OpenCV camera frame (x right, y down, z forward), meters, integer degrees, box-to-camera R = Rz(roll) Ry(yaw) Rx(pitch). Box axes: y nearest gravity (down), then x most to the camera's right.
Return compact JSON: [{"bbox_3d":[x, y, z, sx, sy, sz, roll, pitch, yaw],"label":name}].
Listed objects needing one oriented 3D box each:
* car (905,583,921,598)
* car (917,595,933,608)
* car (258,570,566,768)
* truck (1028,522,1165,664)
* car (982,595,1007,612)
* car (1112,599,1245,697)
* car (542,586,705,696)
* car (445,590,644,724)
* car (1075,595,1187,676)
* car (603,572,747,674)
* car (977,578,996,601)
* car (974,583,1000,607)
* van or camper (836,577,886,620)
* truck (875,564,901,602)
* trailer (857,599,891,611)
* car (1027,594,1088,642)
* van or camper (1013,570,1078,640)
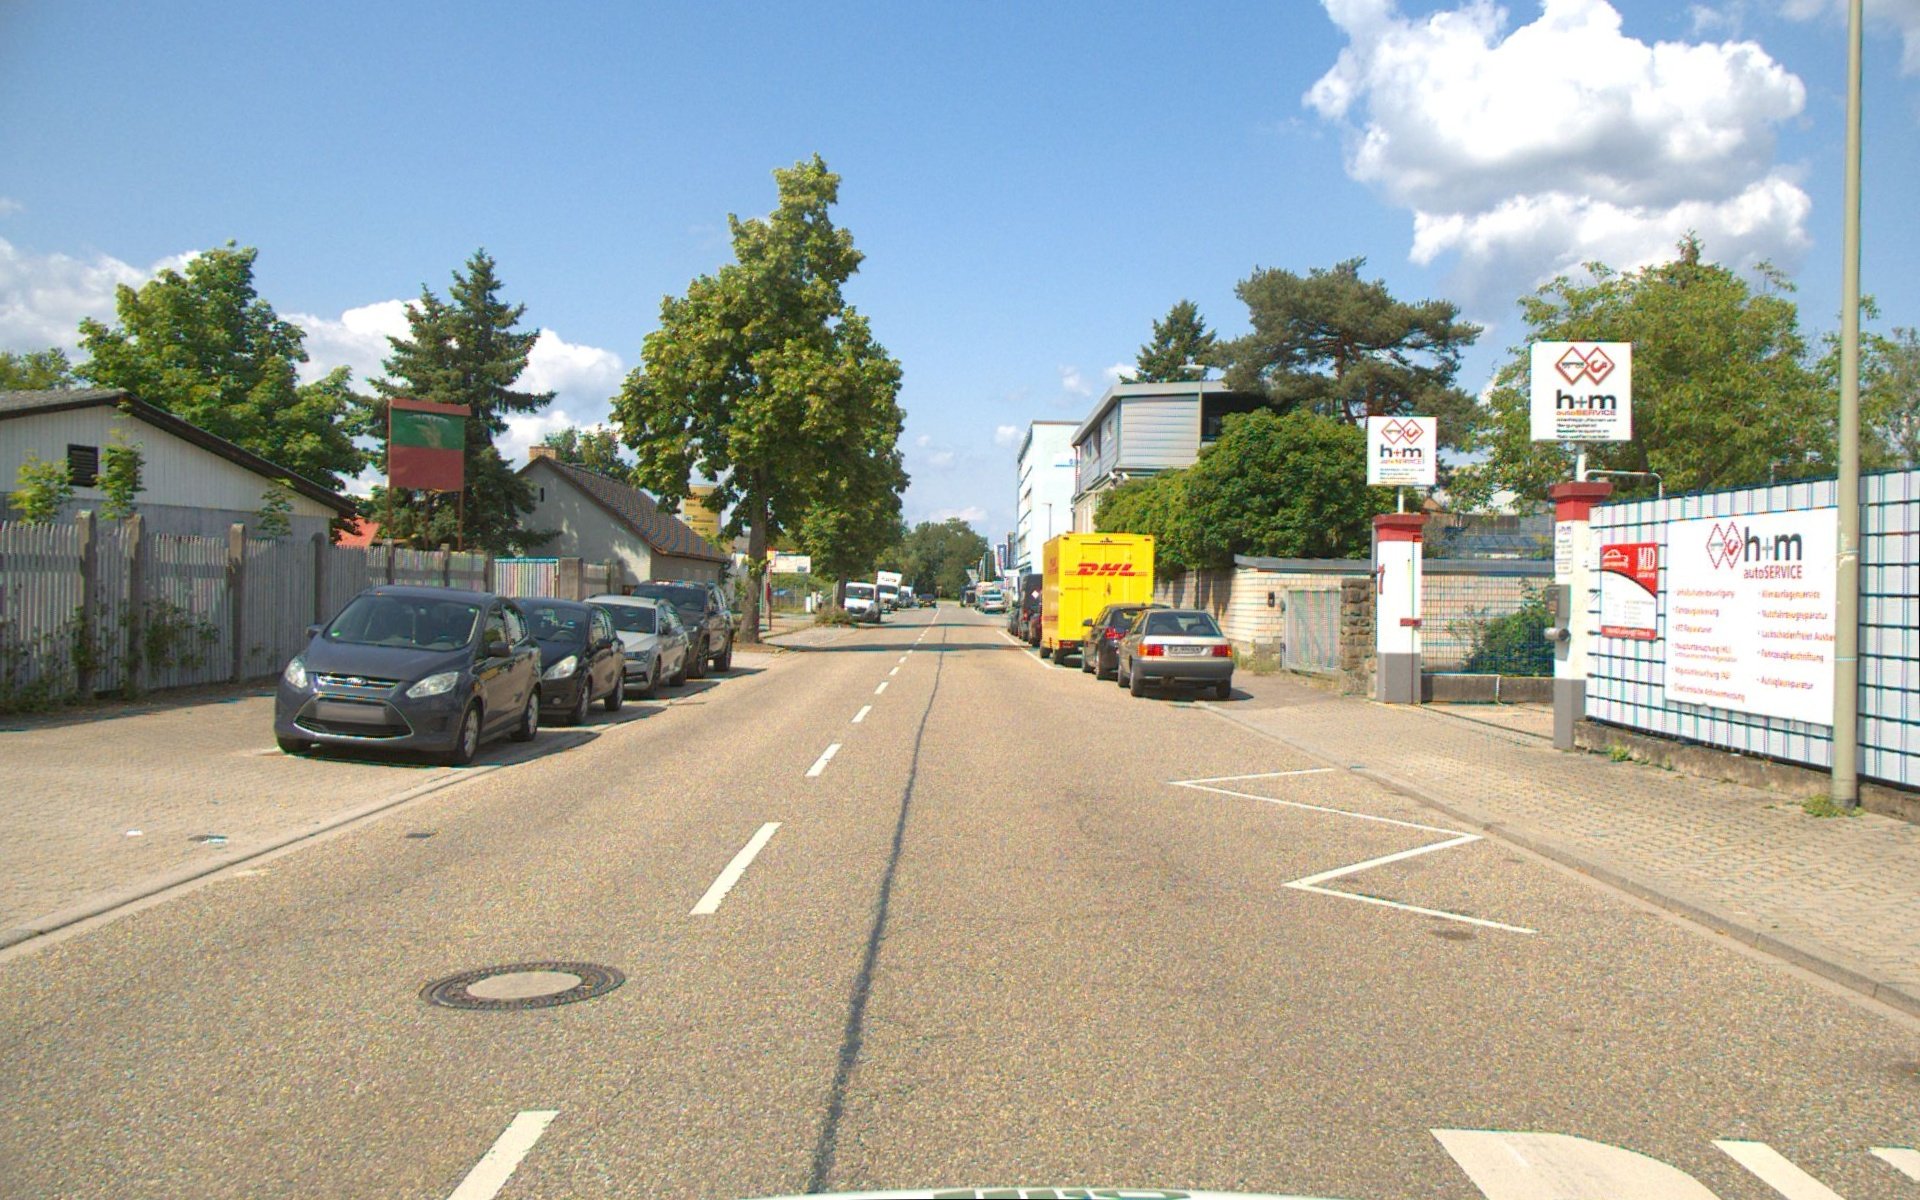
[{"bbox_3d":[-5.237,-1.042,184.382,1.678,1.679,4.000,1,0,0],"label":"car"},{"bbox_3d":[-3.771,0.141,176.644,1.621,1.348,4.416,1,0,0],"label":"car"},{"bbox_3d":[-5.358,0.597,16.798,1.690,1.632,4.412,4,0,-2],"label":"car"},{"bbox_3d":[3.111,-0.167,39.488,2.424,2.991,7.186,2,0,-1],"label":"truck"},{"bbox_3d":[2.770,0.254,131.868,1.889,1.333,4.000,1,0,0],"label":"car"},{"bbox_3d":[3.598,0.741,27.911,1.618,1.411,4.423,2,1,0],"label":"car"},{"bbox_3d":[-5.451,0.596,27.371,1.698,1.544,4.742,3,1,-1],"label":"car"},{"bbox_3d":[-5.371,0.674,21.870,1.595,1.473,4.026,5,0,-2],"label":"car"},{"bbox_3d":[3.309,0.649,32.718,1.628,1.466,4.282,1,0,-2],"label":"car"},{"bbox_3d":[-5.543,0.413,32.812,1.879,1.854,4.786,1,0,1],"label":"car"},{"bbox_3d":[2.473,-1.025,156.040,1.672,2.126,3.999,0,0,-1],"label":"car"},{"bbox_3d":[2.366,-0.437,145.433,2.171,2.049,5.485,1,0,0],"label":"car"},{"bbox_3d":[-5.897,-0.100,99.360,2.128,2.455,7.700,1,0,3],"label":"van or camper"},{"bbox_3d":[-6.197,-1.452,143.282,1.988,3.209,6.499,0,0,0],"label":"truck"},{"bbox_3d":[-6.698,0.375,129.637,2.368,0.827,5.537,3,0,0],"label":"trailer"},{"bbox_3d":[3.119,0.546,53.887,1.647,1.467,4.766,1,0,0],"label":"car"},{"bbox_3d":[3.054,0.160,59.848,1.953,2.331,5.447,2,0,0],"label":"van or camper"}]
